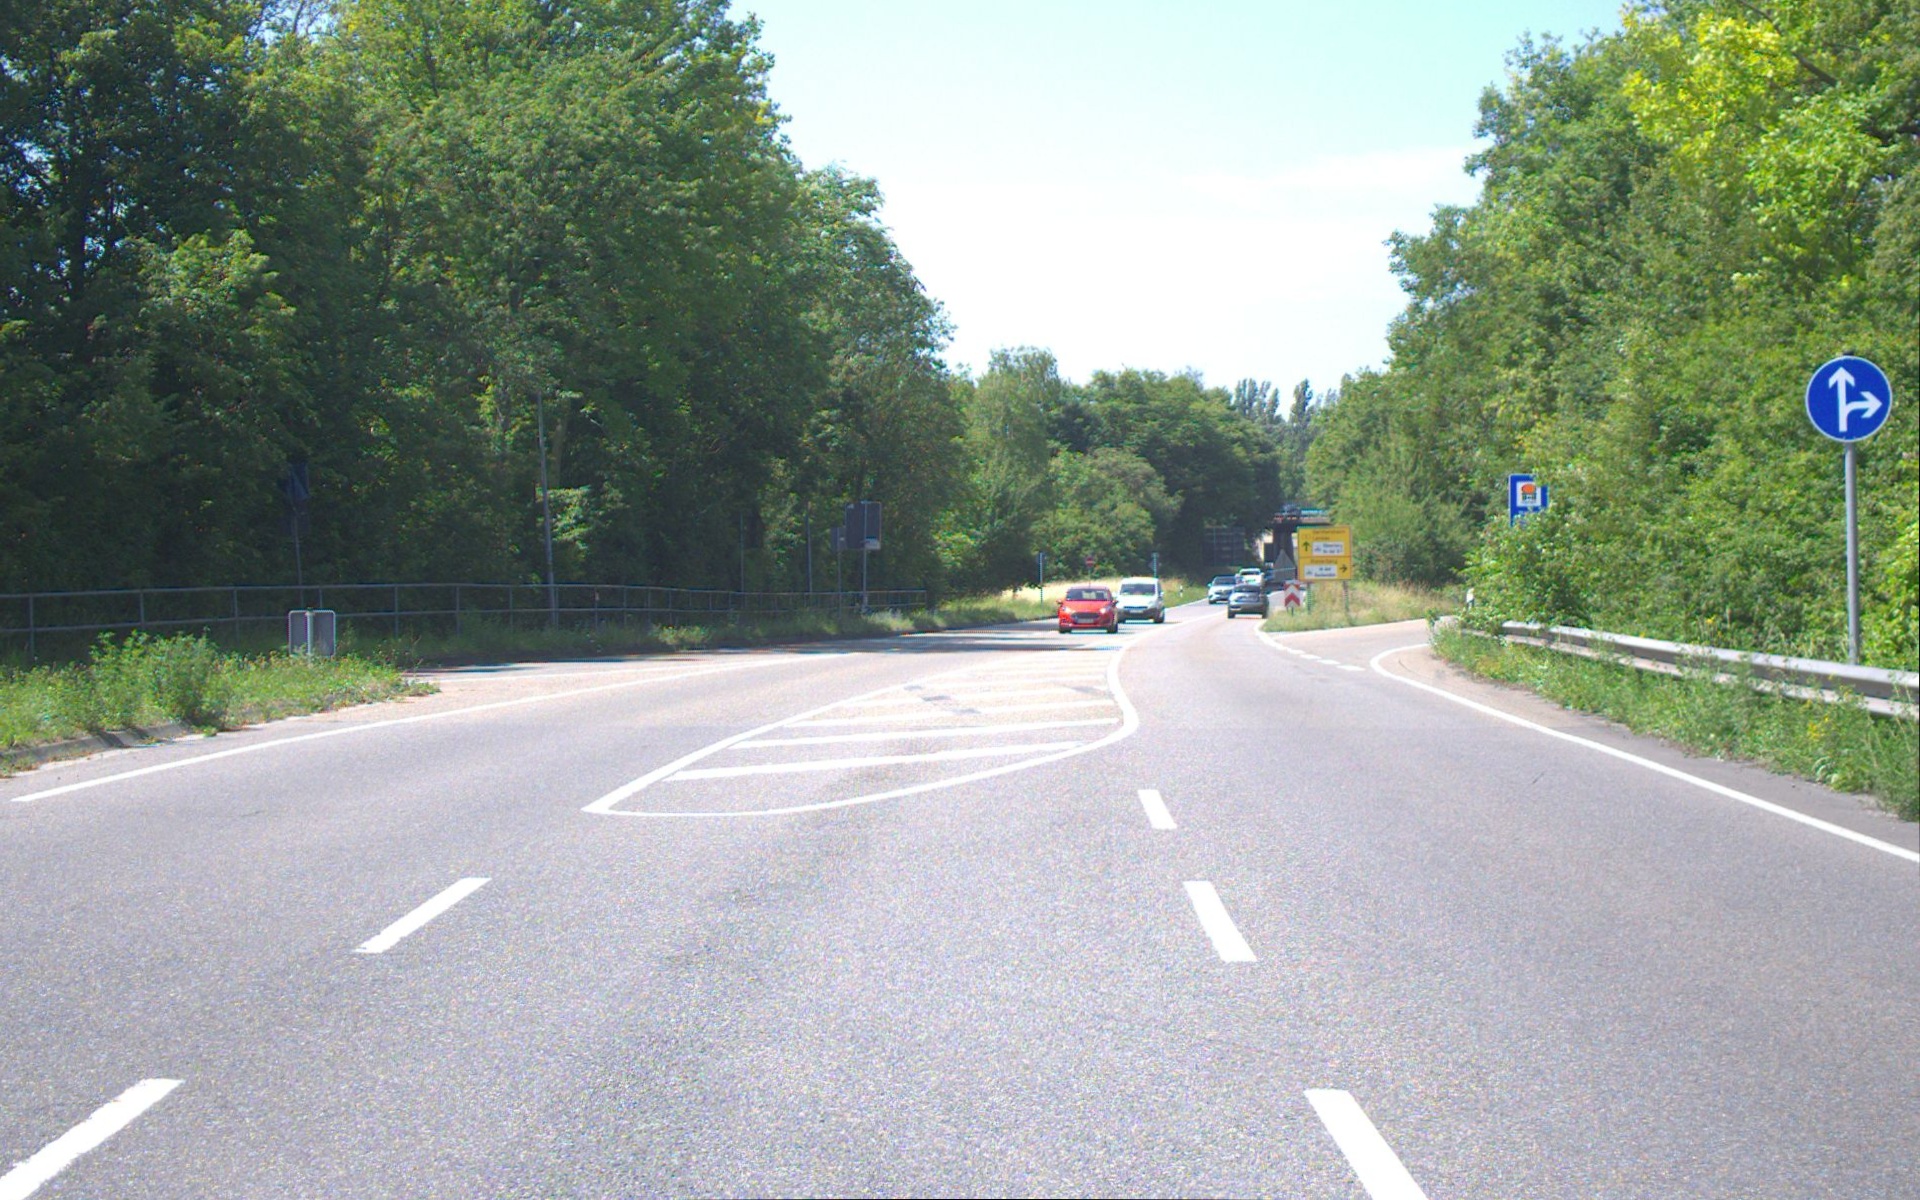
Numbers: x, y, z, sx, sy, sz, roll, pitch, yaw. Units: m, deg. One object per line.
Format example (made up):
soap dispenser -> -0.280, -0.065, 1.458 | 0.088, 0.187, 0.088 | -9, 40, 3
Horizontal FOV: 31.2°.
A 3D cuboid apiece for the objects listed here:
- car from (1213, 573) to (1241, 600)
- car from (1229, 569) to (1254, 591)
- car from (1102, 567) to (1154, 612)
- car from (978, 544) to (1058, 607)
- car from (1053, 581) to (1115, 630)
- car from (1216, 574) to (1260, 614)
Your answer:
car -> 16.018, -0.809, 206.199 | 1.677, 1.522, 4.000 | 0, 1, 4
car -> 20.730, -1.471, 253.025 | 1.720, 1.523, 3.709 | 0, 1, 6
car -> 6.699, -0.442, 136.570 | 1.994, 1.724, 4.274 | -1, 1, 3
car -> 2.990, -1.285, 178.693 | 1.993, 3.215, 4.809 | -1, 1, -28
car -> 3.868, 0.161, 106.697 | 1.810, 1.453, 3.757 | 0, 1, 3
car -> 12.411, -0.282, 153.652 | 1.843, 1.679, 4.000 | 0, 1, 3
